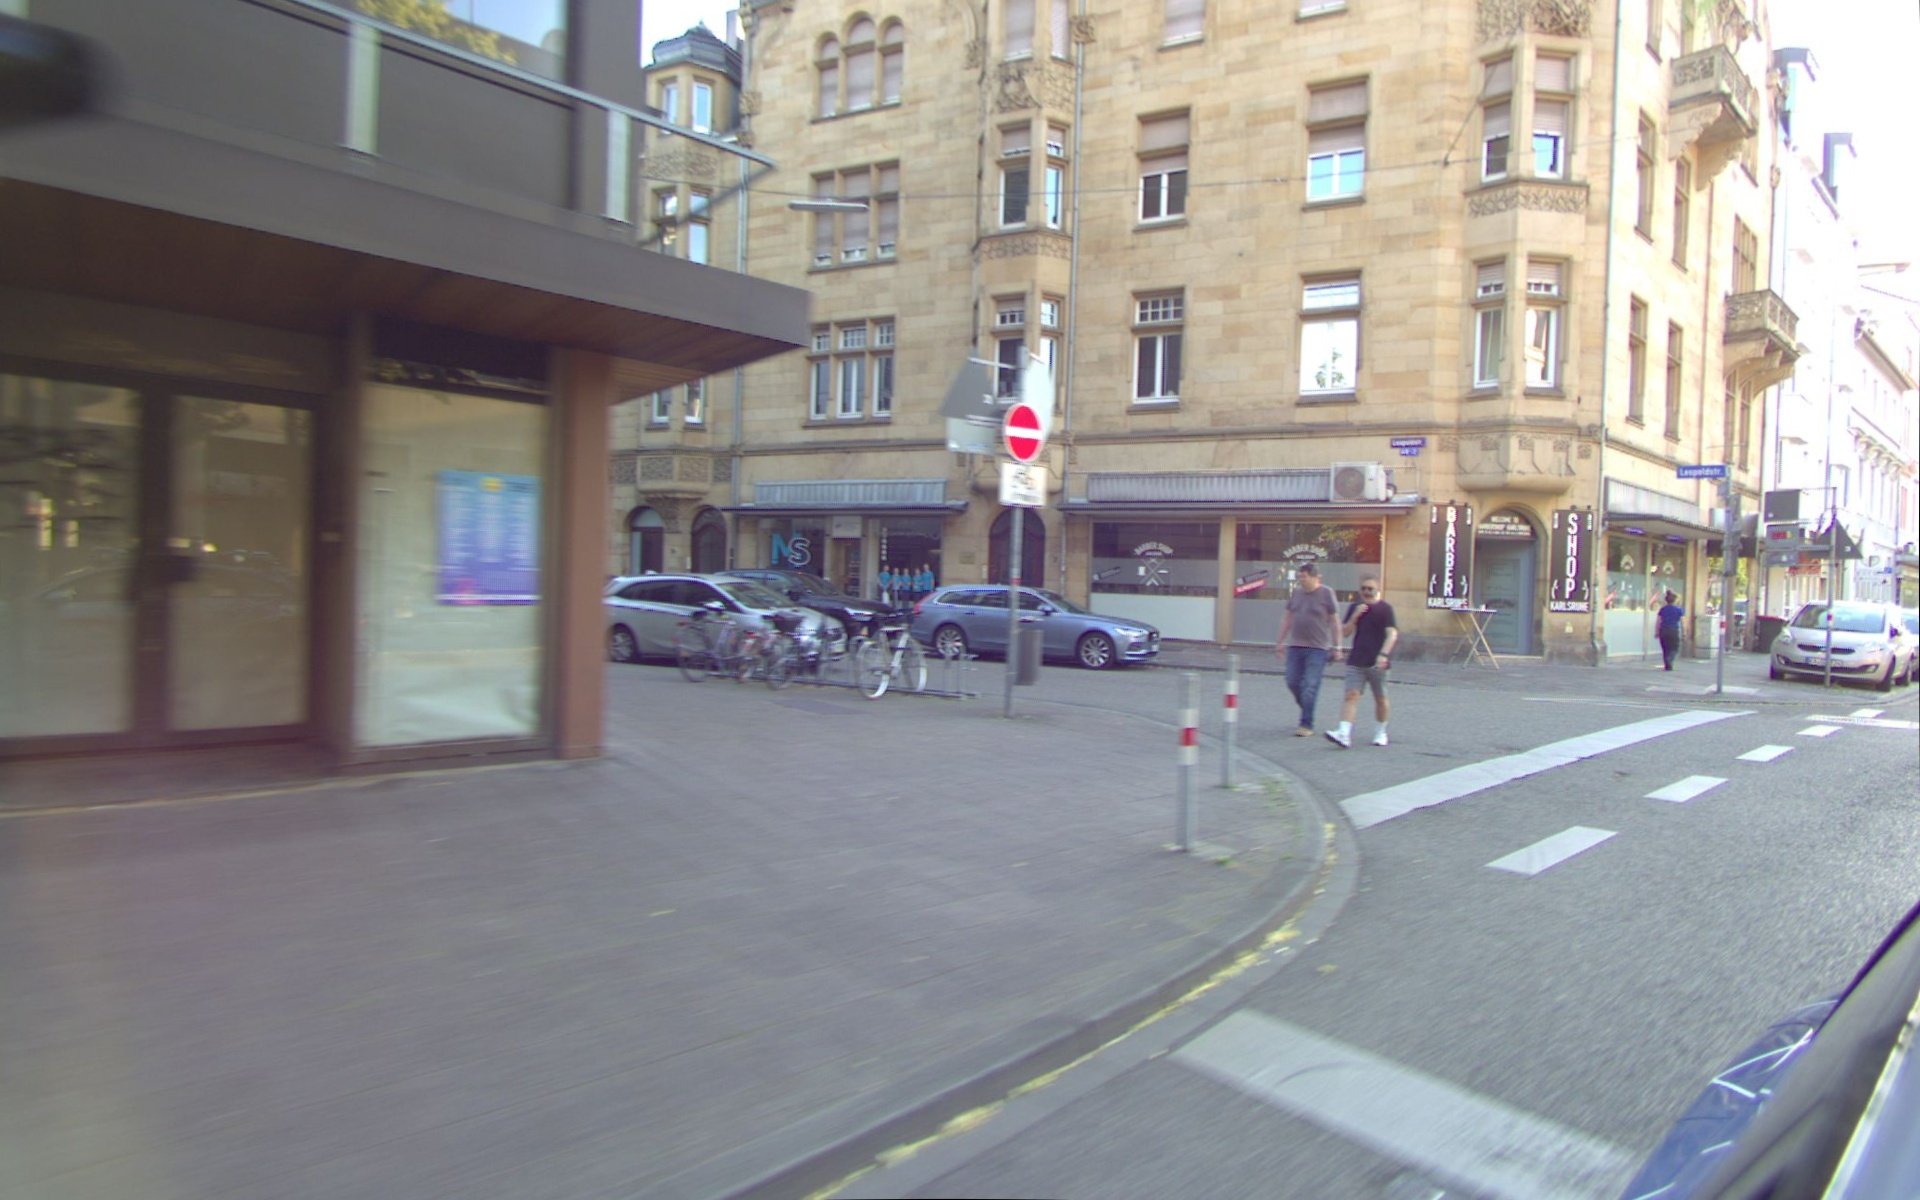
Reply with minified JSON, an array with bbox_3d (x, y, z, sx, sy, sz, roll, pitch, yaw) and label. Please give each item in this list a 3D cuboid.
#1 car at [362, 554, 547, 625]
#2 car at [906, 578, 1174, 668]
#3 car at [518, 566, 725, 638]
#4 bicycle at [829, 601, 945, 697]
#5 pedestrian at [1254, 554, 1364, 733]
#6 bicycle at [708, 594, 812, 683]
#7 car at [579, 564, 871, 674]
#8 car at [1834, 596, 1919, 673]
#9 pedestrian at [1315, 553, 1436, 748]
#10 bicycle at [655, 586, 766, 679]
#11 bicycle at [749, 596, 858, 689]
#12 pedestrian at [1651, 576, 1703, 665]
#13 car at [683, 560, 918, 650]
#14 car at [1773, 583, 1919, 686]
[{"bbox_3d":[-13.397,-0.297,26.763,4.721,1.669,1.961,2,1,27],"label":"car"},{"bbox_3d":[1.503,0.367,19.320,4.721,1.436,1.961,2,1,27],"label":"car"},{"bbox_3d":[-8.093,0.015,24.141,4.721,1.481,1.961,2,1,27],"label":"car"},{"bbox_3d":[-0.844,0.570,12.265,0.576,1.046,1.839,2,-1,24],"label":"bicycle"},{"bbox_3d":[3.658,0.420,10.606,0.798,1.780,0.756,1,1,-41],"label":"pedestrian"},{"bbox_3d":[-2.600,0.492,13.338,0.575,1.073,1.676,2,-1,18],"label":"bicycle"},{"bbox_3d":[-3.831,0.239,16.367,4.499,1.505,1.779,2,1,27],"label":"car"},{"bbox_3d":[20.976,0.742,22.496,3.520,1.476,1.582,1,4,-38],"label":"car"},{"bbox_3d":[4.006,0.450,9.761,0.798,1.780,0.756,1,1,-41],"label":"pedestrian"},{"bbox_3d":[-3.249,0.416,13.332,0.575,1.119,1.675,2,-1,19],"label":"bicycle"},{"bbox_3d":[-1.941,0.515,12.796,0.576,1.073,1.674,2,-1,21],"label":"bicycle"},{"bbox_3d":[14.111,0.394,19.915,0.592,1.682,0.600,0,3,-36],"label":"pedestrian"},{"bbox_3d":[-3.436,0.050,21.653,4.721,1.669,1.961,2,1,27],"label":"car"},{"bbox_3d":[17.292,0.602,19.518,3.727,1.668,1.759,1,5,-41],"label":"car"}]
